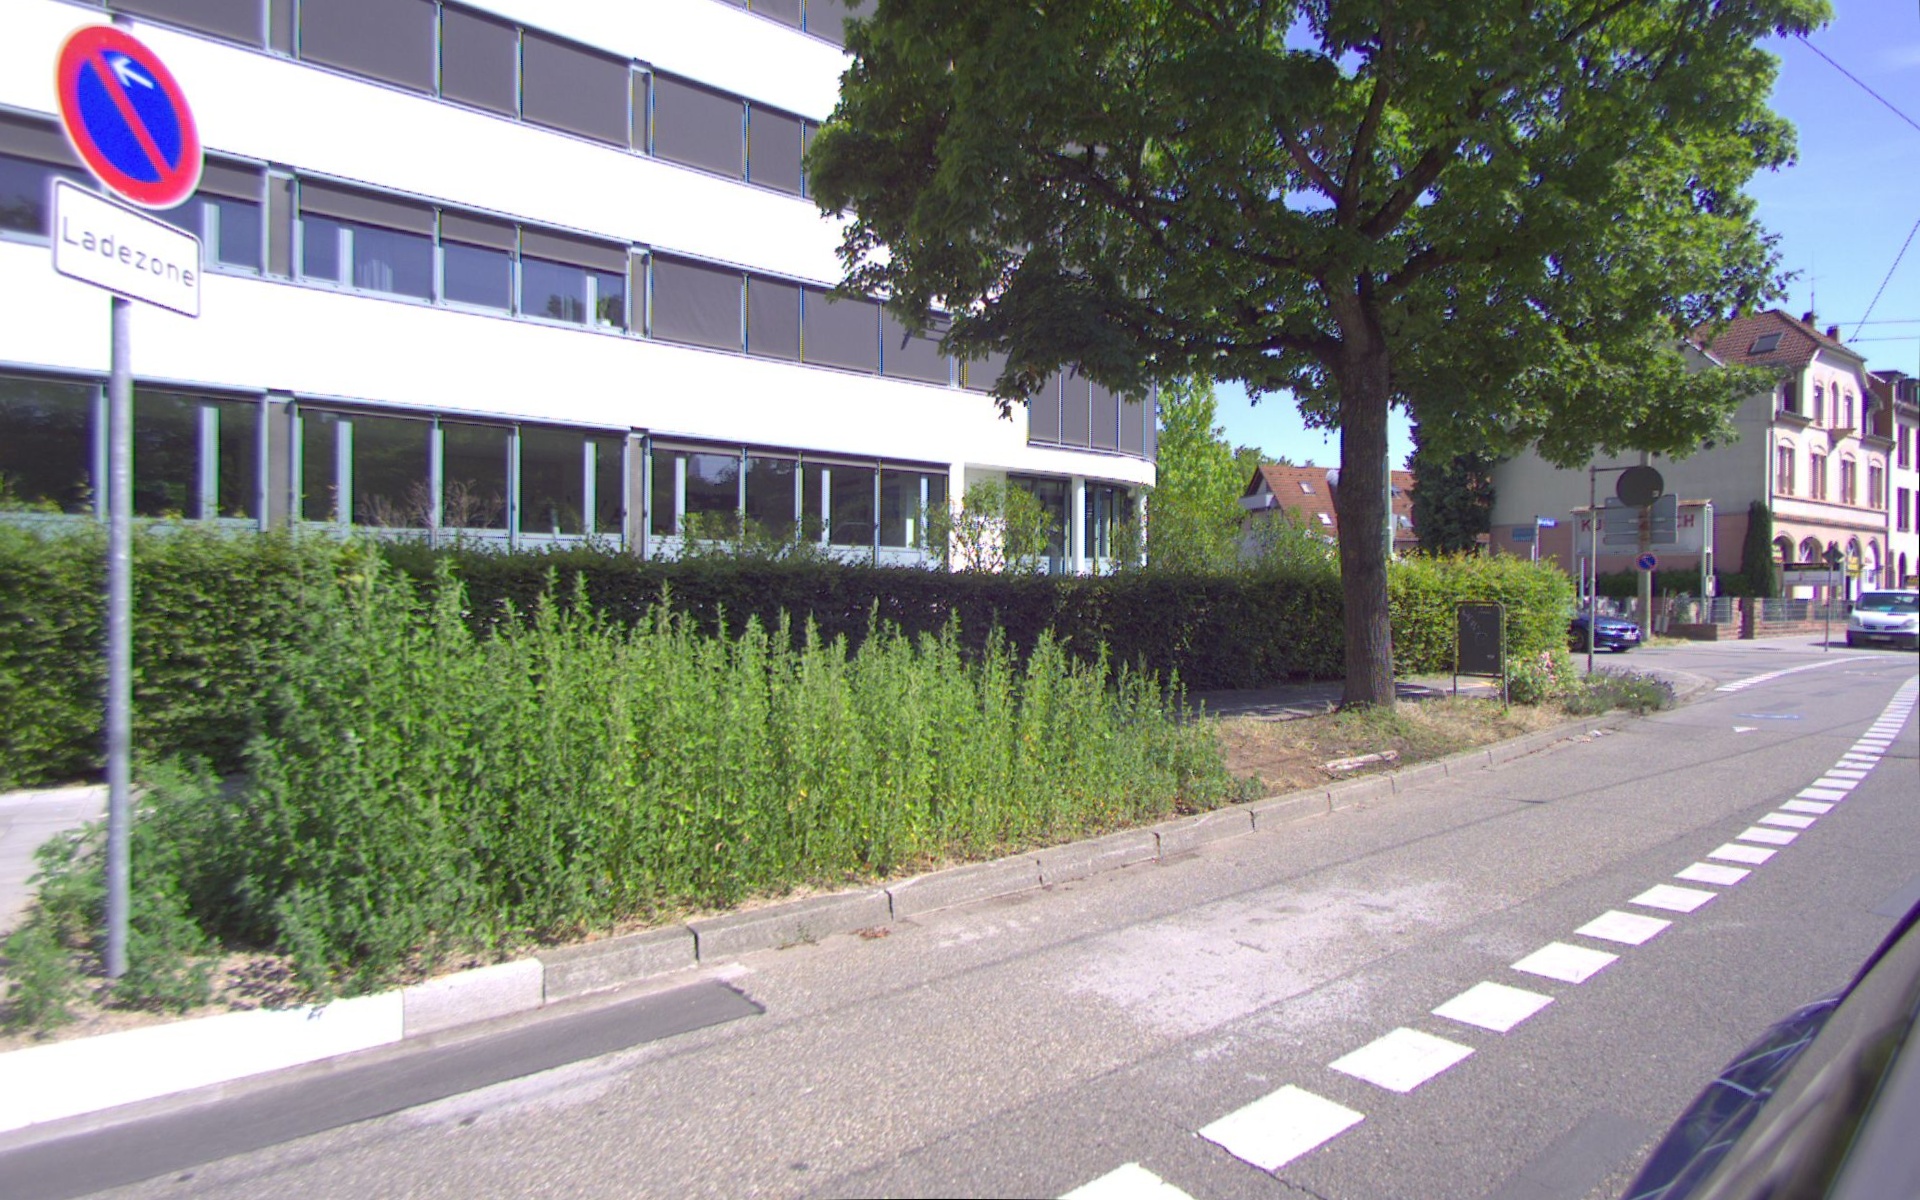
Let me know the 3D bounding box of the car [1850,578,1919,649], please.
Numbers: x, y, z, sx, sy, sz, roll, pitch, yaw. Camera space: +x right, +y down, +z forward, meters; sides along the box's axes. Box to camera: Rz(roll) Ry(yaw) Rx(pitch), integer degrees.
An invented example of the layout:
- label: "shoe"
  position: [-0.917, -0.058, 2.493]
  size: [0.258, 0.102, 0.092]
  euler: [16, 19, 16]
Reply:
- label: "car"
  position: [30.482, 0.377, 32.273]
  size: [5.092, 2.080, 1.983]
  euler: [-1, 2, -35]

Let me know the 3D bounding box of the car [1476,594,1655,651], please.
- label: "car"
  position: [16.030, 0.538, 26.950]
  size: [1.639, 1.405, 3.757]
  euler: [0, 0, -35]

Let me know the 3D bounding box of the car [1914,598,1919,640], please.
- label: "car"
  position: [35.541, 0.690, 35.871]
  size: [4.231, 1.461, 1.728]
  euler: [0, 2, -36]
